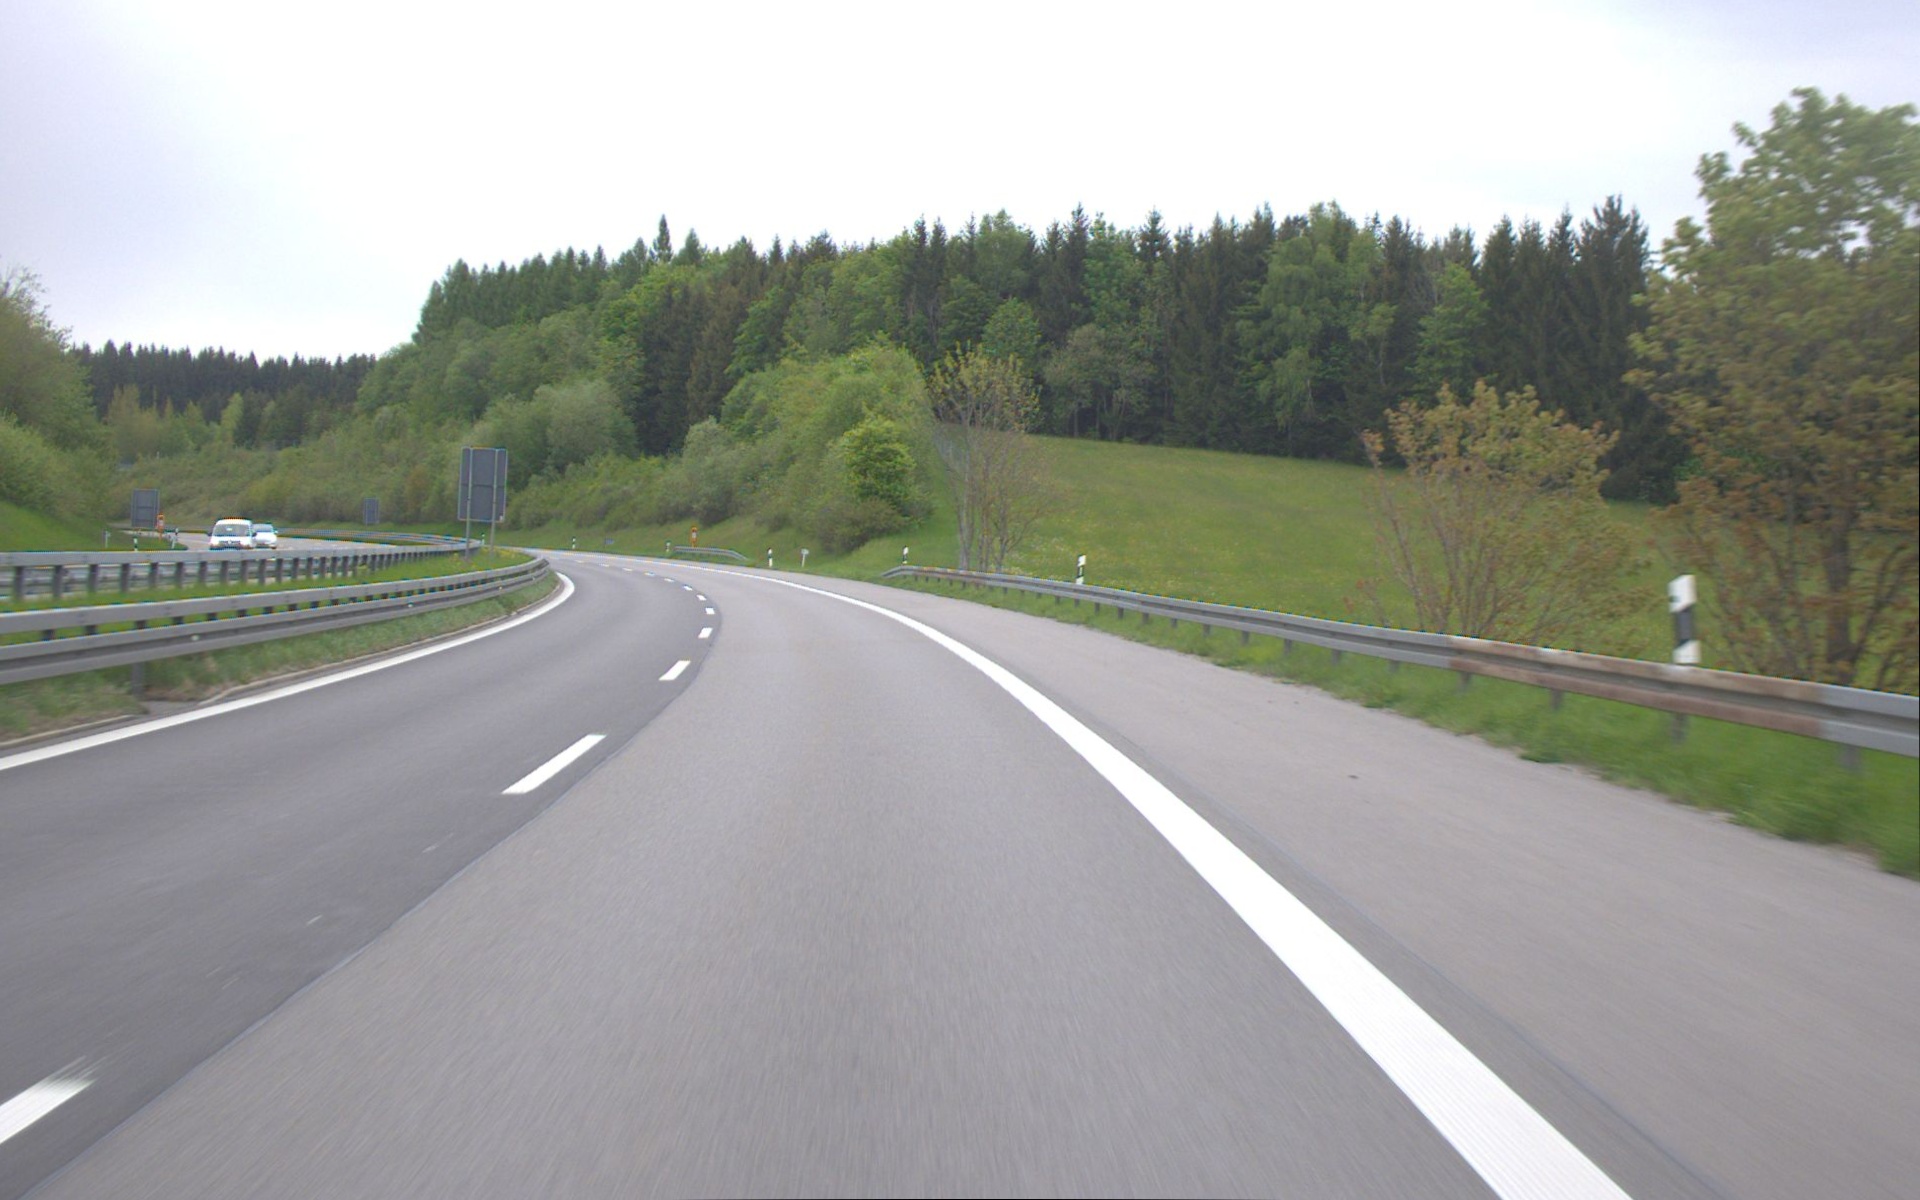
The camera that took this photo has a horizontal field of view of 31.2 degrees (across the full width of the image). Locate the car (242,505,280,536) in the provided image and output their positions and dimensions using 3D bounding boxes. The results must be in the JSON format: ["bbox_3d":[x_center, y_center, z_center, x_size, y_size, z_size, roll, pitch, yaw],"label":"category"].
[{"bbox_3d":[-43.141,-4.933,212.168,2.034,1.685,5.057,3,1,-14],"label":"car"}]

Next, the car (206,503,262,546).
[{"bbox_3d":[-31.244,-3.281,148.028,1.993,1.680,4.628,3,1,-8],"label":"car"}]
